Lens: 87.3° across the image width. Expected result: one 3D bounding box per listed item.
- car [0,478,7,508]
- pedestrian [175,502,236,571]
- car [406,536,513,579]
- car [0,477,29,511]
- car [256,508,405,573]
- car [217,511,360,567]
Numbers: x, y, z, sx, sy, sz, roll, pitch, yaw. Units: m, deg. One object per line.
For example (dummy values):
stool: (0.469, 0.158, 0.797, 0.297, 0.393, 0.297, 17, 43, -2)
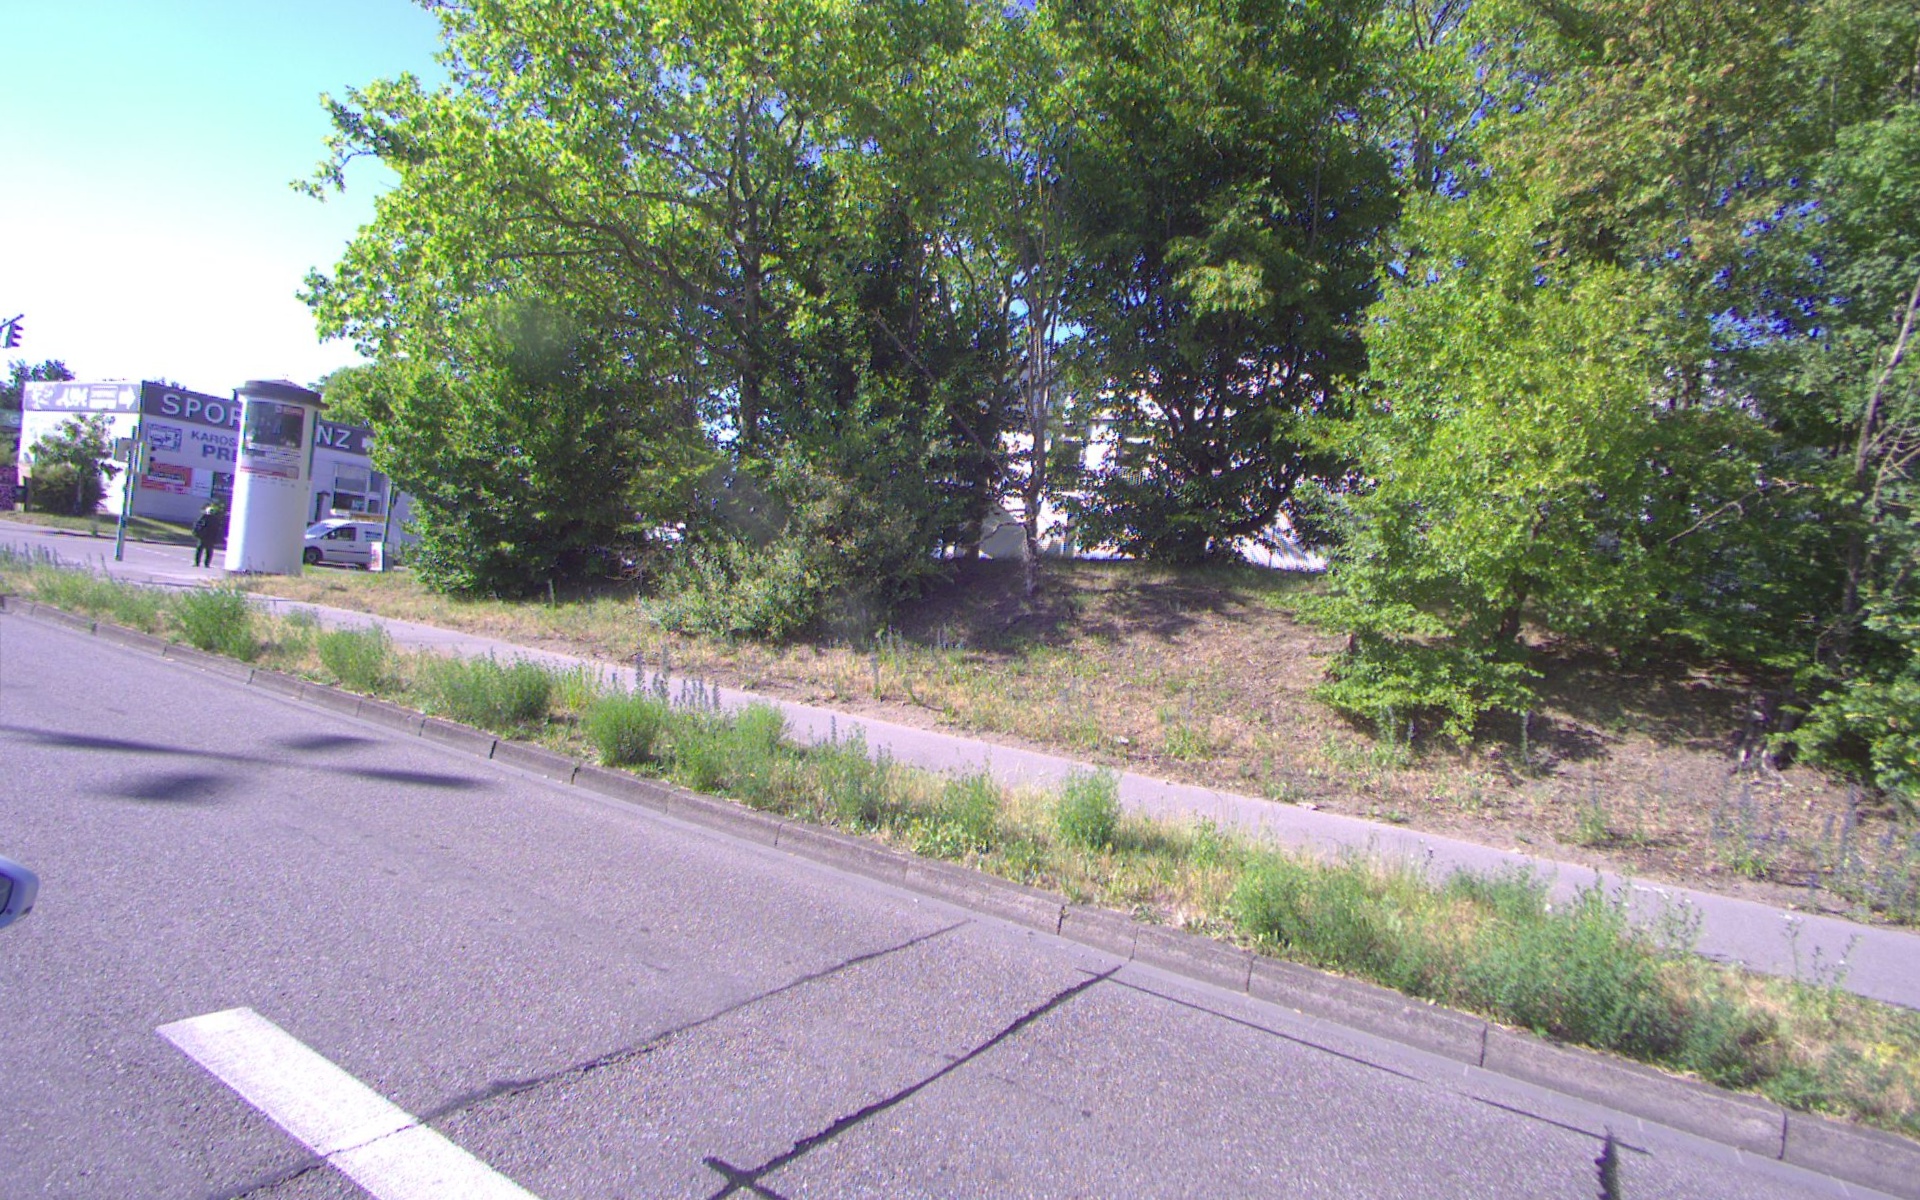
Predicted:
car: (-49.236, -5.489, 48.477, 1.828, 1.472, 4.490, 7, 1, 33)
pedestrian: (-21.046, -1.765, 28.070, 0.923, 1.755, 0.927, 6, -1, 31)
car: (-22.991, -1.937, 46.339, 1.752, 1.509, 4.046, 7, 1, 30)
car: (-46.885, -5.222, 47.107, 1.828, 1.472, 4.490, 7, 1, 33)
car: (-23.843, -2.199, 38.275, 1.735, 1.824, 4.387, 9, 1, 30)
car: (-26.618, -2.375, 40.024, 1.735, 1.568, 4.292, 9, 1, 30)
